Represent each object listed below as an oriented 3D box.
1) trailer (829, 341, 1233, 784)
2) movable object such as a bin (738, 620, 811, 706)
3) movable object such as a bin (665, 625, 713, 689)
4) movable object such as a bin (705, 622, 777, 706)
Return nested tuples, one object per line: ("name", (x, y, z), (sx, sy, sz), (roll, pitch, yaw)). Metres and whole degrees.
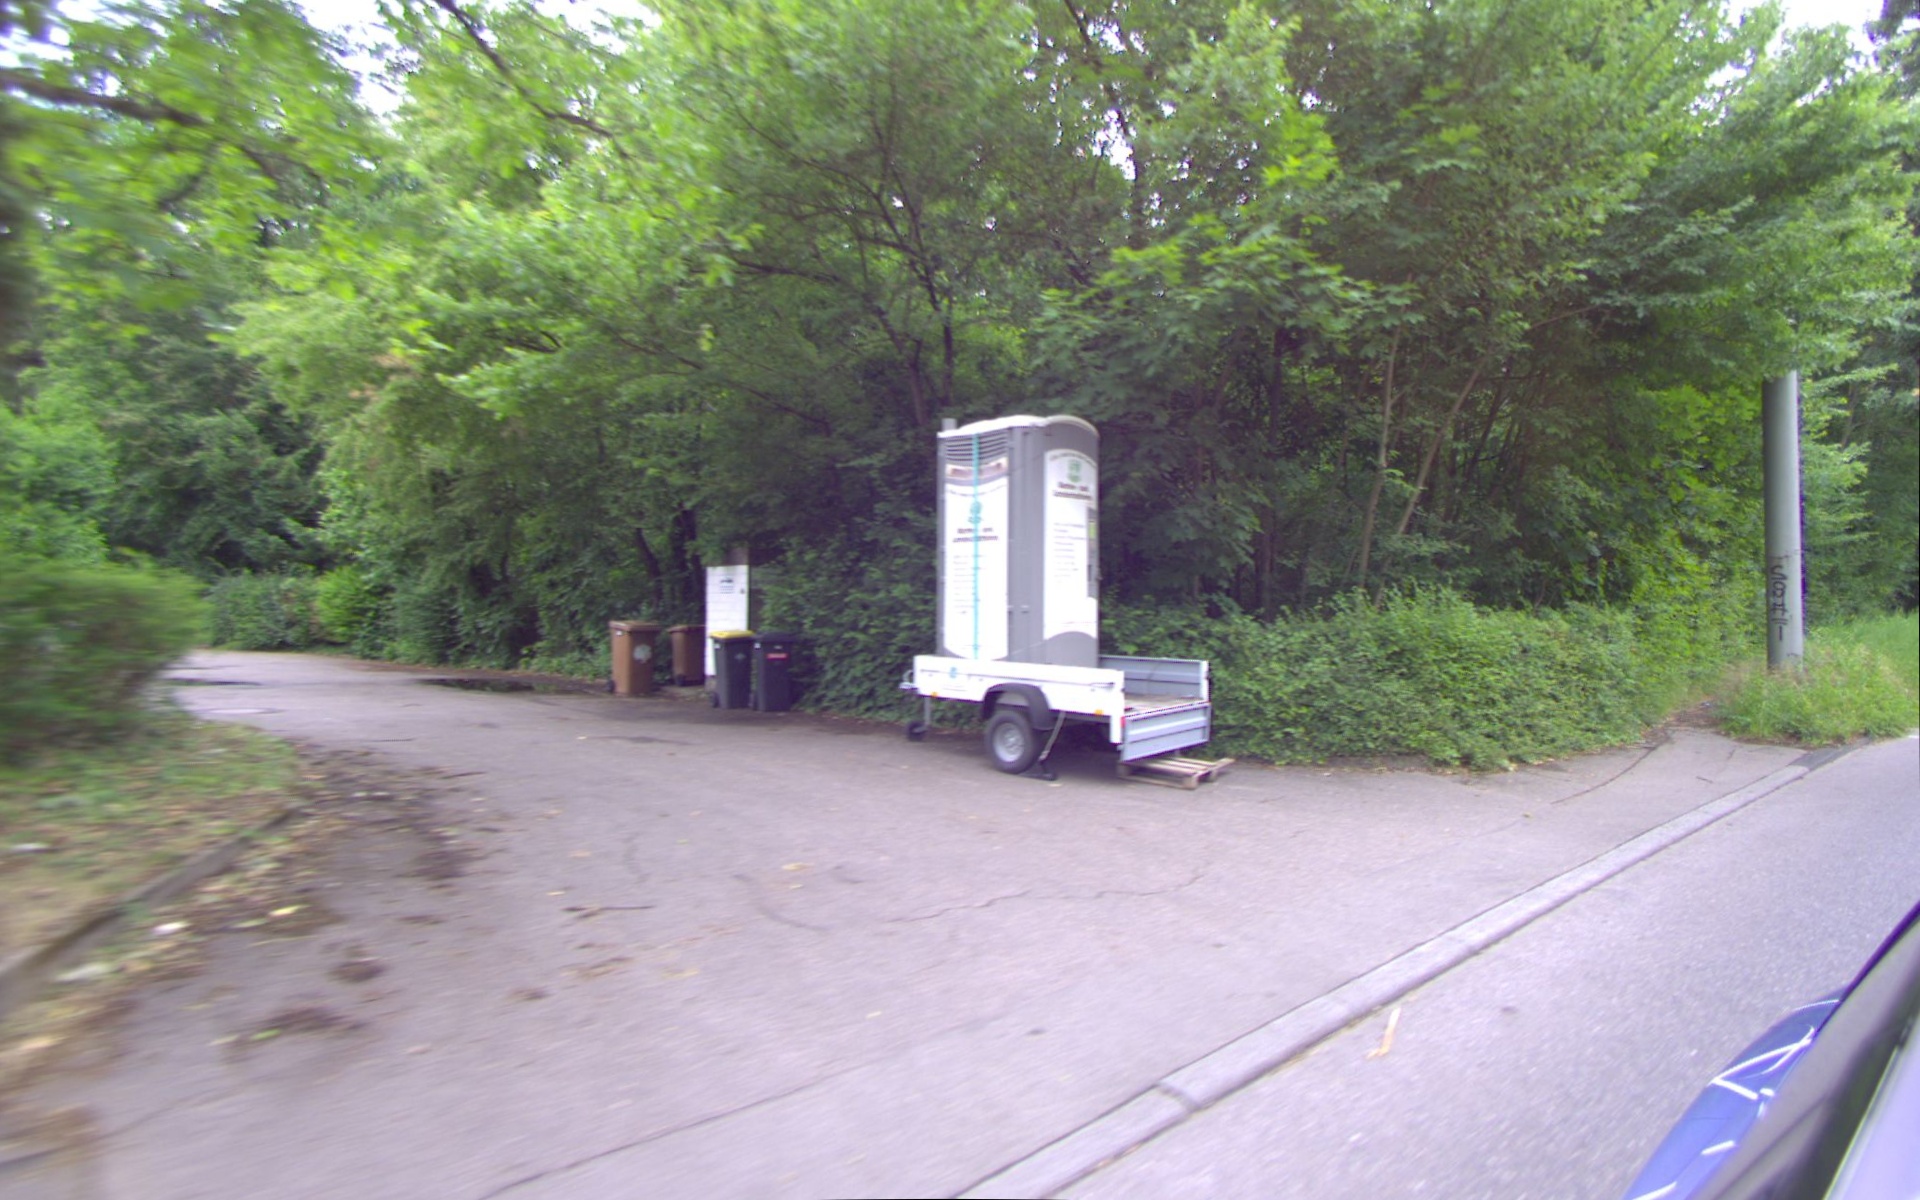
("trailer", (0.464, -0.286, 8.406), (1.566, 2.936, 3.120), (0, 1, -43))
("movable object such as a bin", (-2.179, 0.735, 11.938), (0.531, 0.963, 0.646), (-3, -1, 33))
("movable object such as a bin", (-4.108, 0.851, 15.339), (0.525, 0.924, 0.522), (0, 1, -42))
("movable object such as a bin", (-2.653, 0.759, 12.266), (0.531, 0.963, 0.646), (-3, -1, 33))
